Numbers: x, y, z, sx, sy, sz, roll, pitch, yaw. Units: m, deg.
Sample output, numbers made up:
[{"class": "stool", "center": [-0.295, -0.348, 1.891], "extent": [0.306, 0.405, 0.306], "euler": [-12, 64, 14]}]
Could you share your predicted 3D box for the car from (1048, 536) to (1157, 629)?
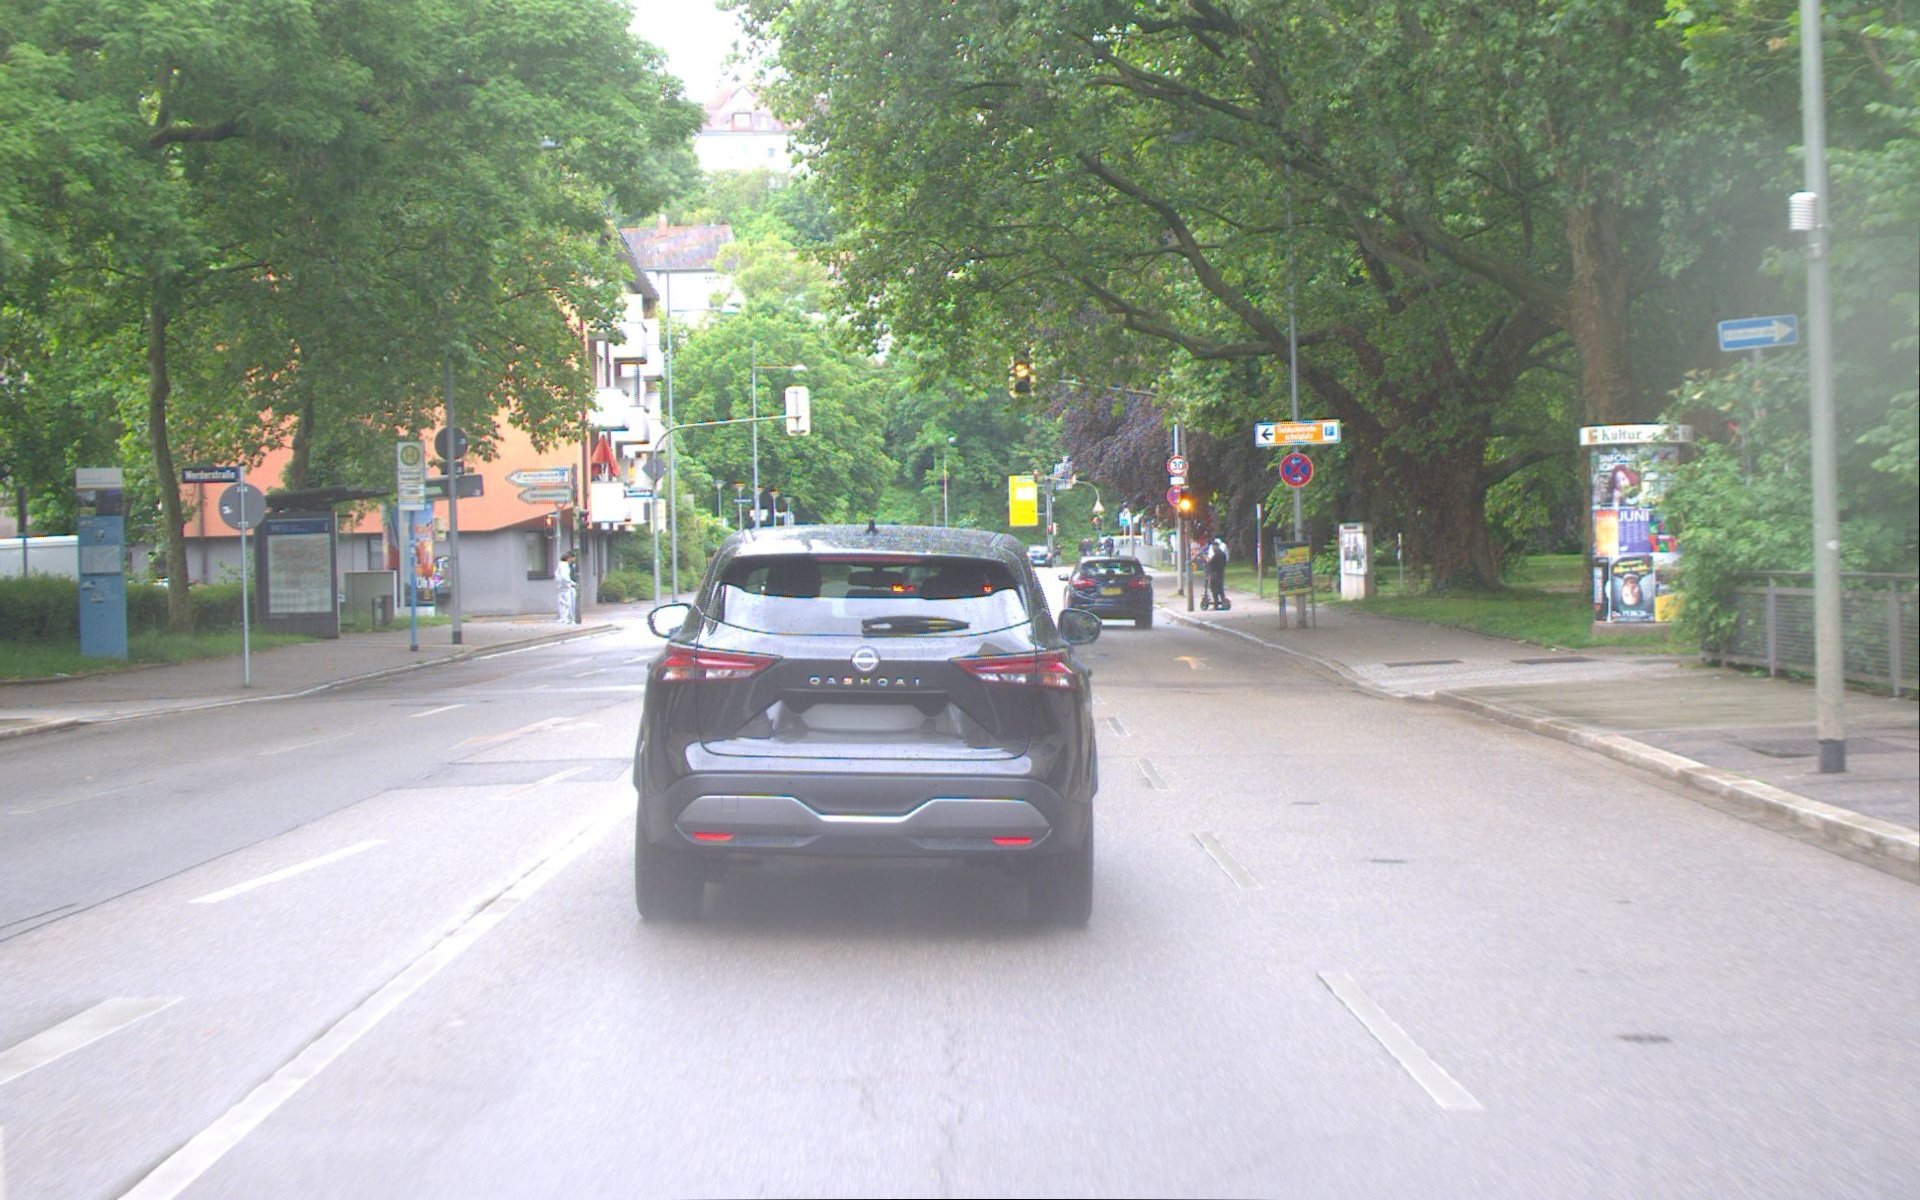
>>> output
[{"class": "car", "center": [2.975, -0.368, 72.567], "extent": [1.945, 1.810, 4.000], "euler": [-3, 0, -1]}]

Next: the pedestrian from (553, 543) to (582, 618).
[{"class": "pedestrian", "center": [-9.358, -0.467, 81.868], "extent": [0.666, 1.785, 0.722], "euler": [1, 1, -7]}]

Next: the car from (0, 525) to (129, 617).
[{"class": "car", "center": [-18.227, -0.581, 66.538], "extent": [3.833, 1.728, 1.880], "euler": [1, 1, -1]}]

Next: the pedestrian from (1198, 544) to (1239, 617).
[{"class": "pedestrian", "center": [6.367, -0.475, 84.683], "extent": [0.667, 1.785, 0.721], "euler": [0, 1, -41]}]

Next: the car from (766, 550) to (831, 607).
[{"class": "car", "center": [-5.283, -0.732, 112.818], "extent": [1.821, 1.790, 3.865], "euler": [1, 1, 1]}]

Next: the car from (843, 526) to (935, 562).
[{"class": "car", "center": [-4.790, -3.803, 231.814], "extent": [6.076, 2.347, 2.422], "euler": [1, 1, -3]}]

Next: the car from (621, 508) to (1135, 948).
[{"class": "car", "center": [-0.431, 0.448, 14.812], "extent": [1.894, 1.623, 4.001], "euler": [1, 1, -4]}]

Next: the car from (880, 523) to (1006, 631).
[{"class": "car", "center": [-0.249, -0.364, 56.232], "extent": [1.946, 1.679, 4.000], "euler": [0, 0, 1]}]
